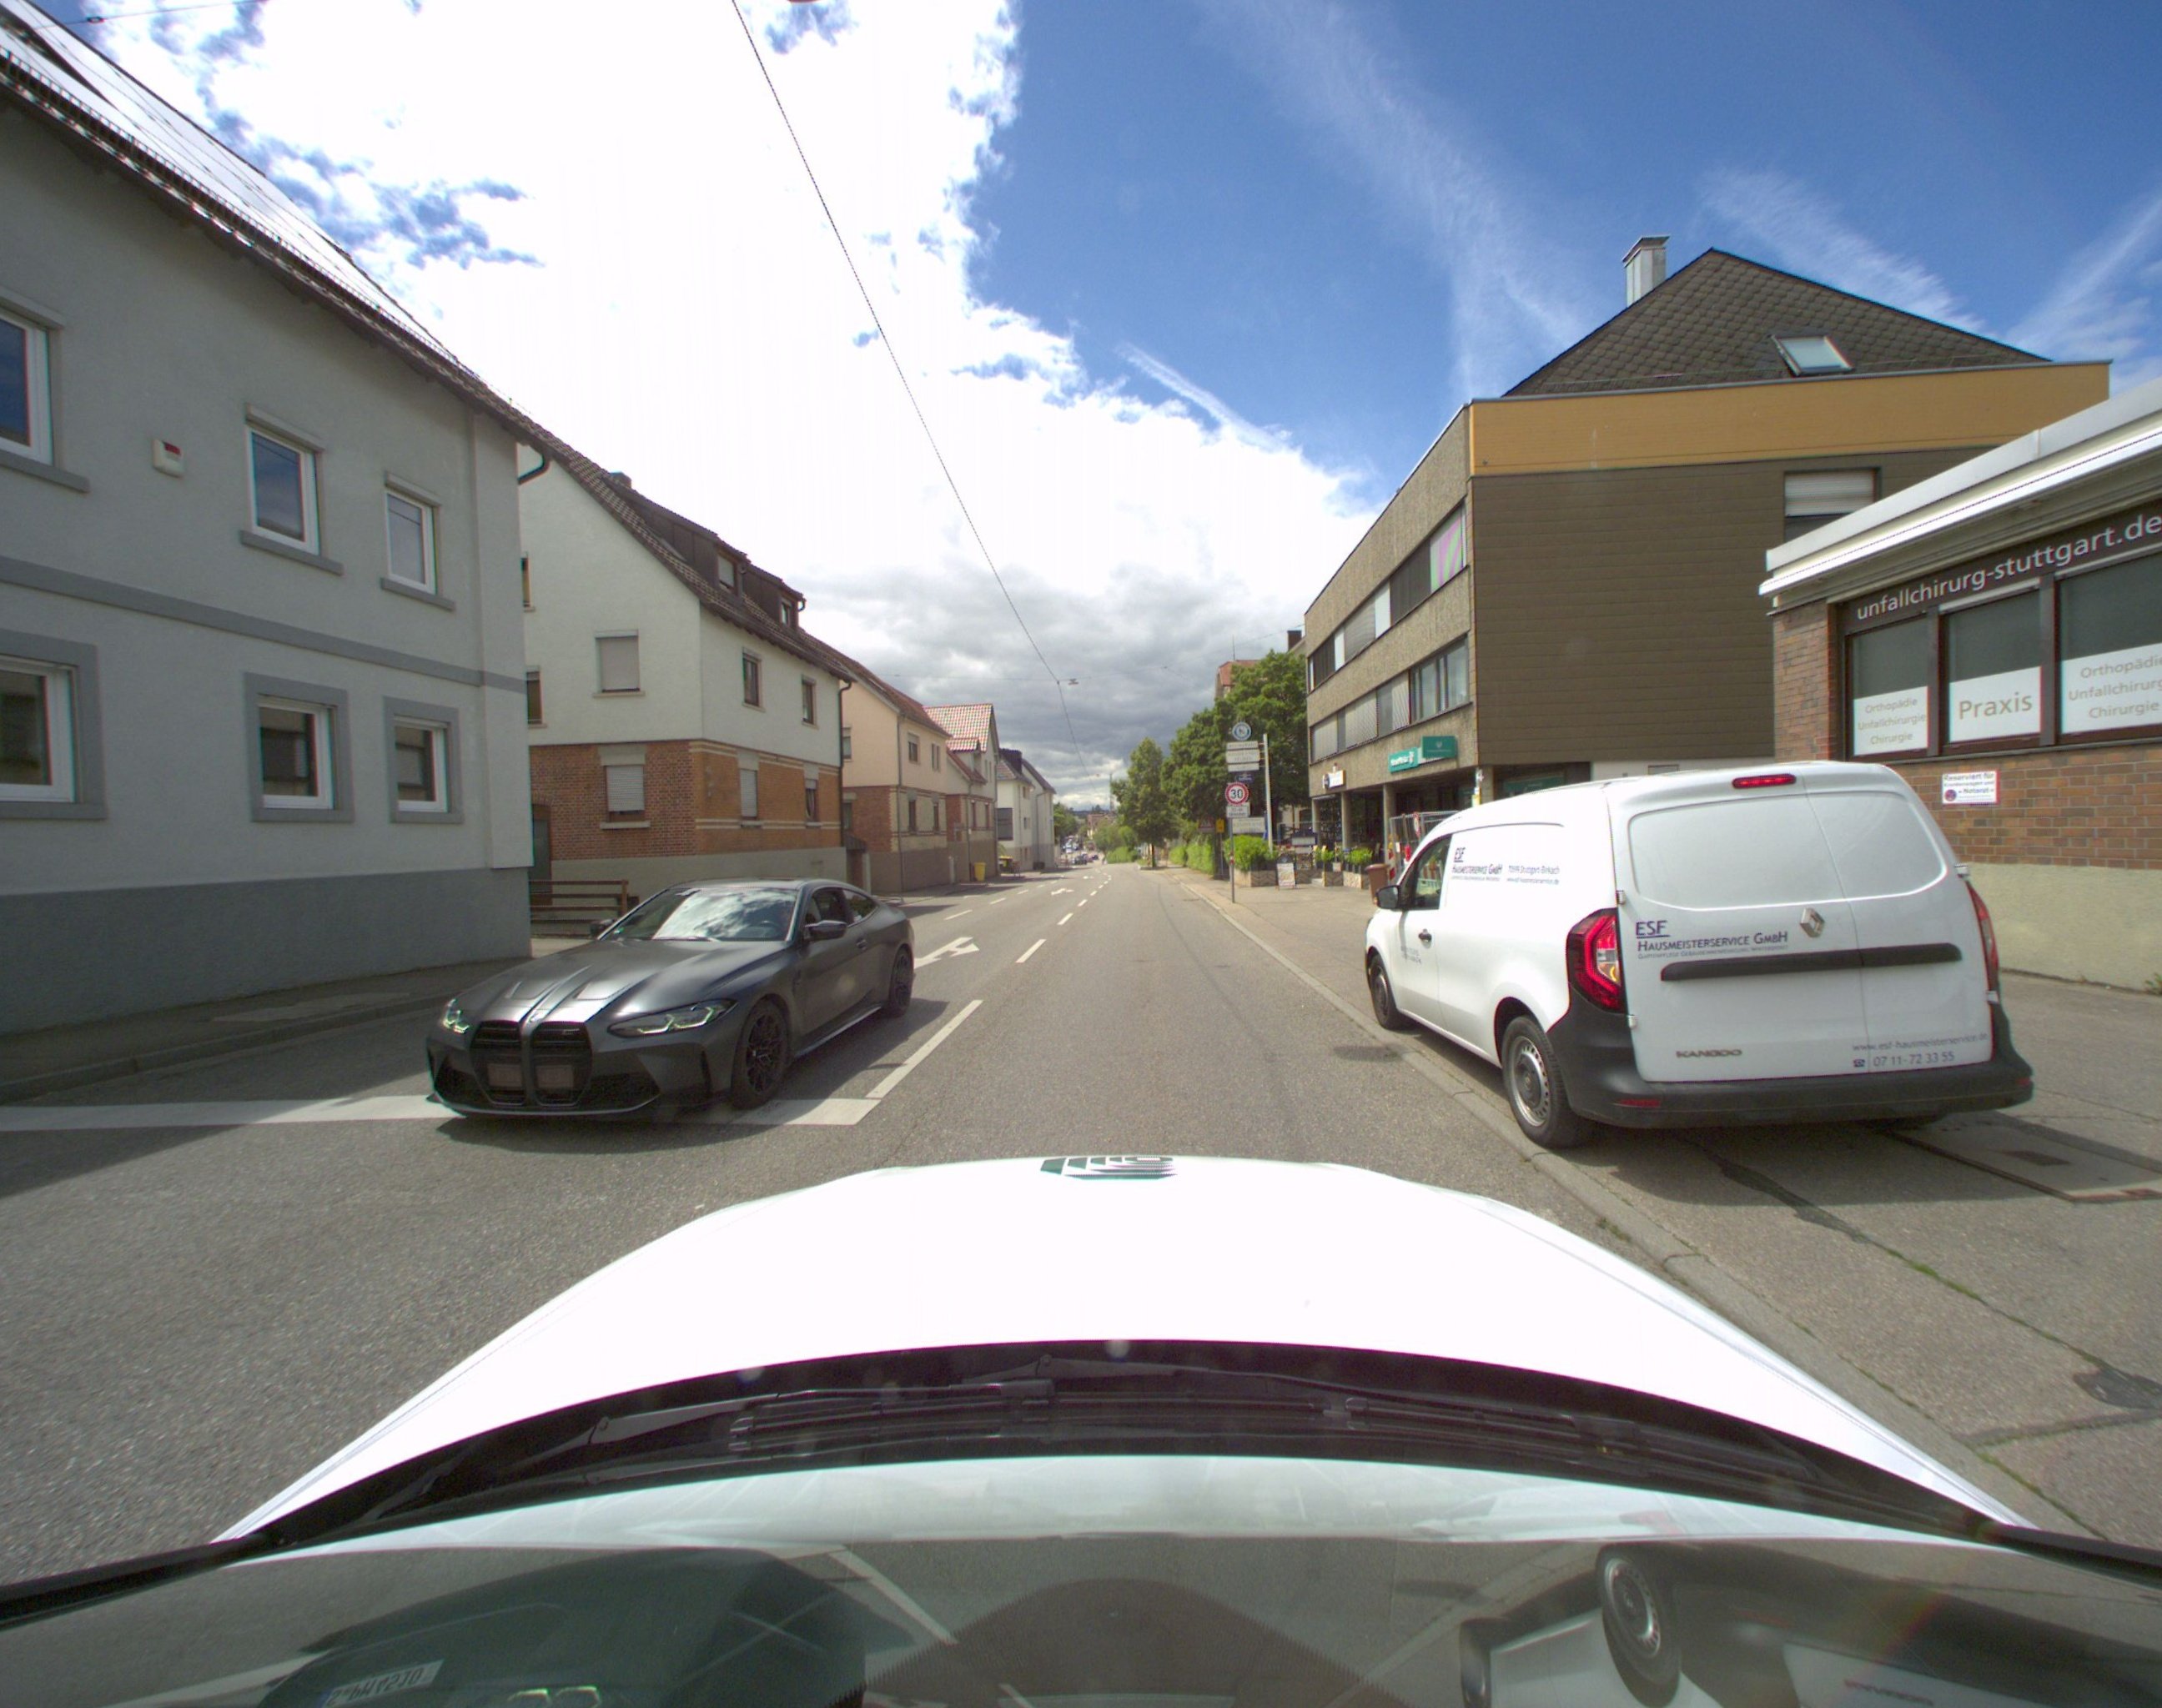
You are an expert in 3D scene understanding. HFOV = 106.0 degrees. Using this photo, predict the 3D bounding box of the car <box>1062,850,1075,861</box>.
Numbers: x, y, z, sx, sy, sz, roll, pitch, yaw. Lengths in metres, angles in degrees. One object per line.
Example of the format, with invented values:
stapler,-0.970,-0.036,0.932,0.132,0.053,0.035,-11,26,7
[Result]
car,-2.374,0.297,153.939,1.991,2.013,3.992,-3,0,-5

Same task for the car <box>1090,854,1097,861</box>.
car,3.598,0.978,233.918,1.987,2.013,3.999,-3,0,-1

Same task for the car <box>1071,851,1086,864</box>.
car,-0.444,0.560,130.696,1.991,2.013,3.992,-3,0,-5

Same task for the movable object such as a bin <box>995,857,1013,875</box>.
movable object such as a bin,-6.075,0.923,64.238,1.278,1.310,0.816,-3,0,-2

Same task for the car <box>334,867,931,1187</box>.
car,-2.809,0.963,6.609,1.985,1.457,4.622,-4,0,3

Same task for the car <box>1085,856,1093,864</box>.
car,2.087,1.482,218.197,1.987,2.013,3.999,-3,0,-1

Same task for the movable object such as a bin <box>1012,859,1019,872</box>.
movable object such as a bin,-5.320,0.900,66.050,0.529,1.030,0.455,-3,0,2

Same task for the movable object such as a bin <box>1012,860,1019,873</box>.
movable object such as a bin,-5.250,1.027,65.292,0.529,1.030,0.455,-3,0,2

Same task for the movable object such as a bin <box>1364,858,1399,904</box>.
movable object such as a bin,7.207,0.642,19.525,0.597,1.026,0.683,-3,0,33

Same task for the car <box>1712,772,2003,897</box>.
car,13.534,-0.339,14.283,3.770,1.778,1.909,-5,0,-14

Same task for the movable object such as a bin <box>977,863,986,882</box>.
movable object such as a bin,-5.910,1.090,48.206,0.429,1.128,0.299,-4,0,2

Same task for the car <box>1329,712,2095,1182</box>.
car,3.257,0.381,5.599,1.902,1.794,4.496,-5,0,4
